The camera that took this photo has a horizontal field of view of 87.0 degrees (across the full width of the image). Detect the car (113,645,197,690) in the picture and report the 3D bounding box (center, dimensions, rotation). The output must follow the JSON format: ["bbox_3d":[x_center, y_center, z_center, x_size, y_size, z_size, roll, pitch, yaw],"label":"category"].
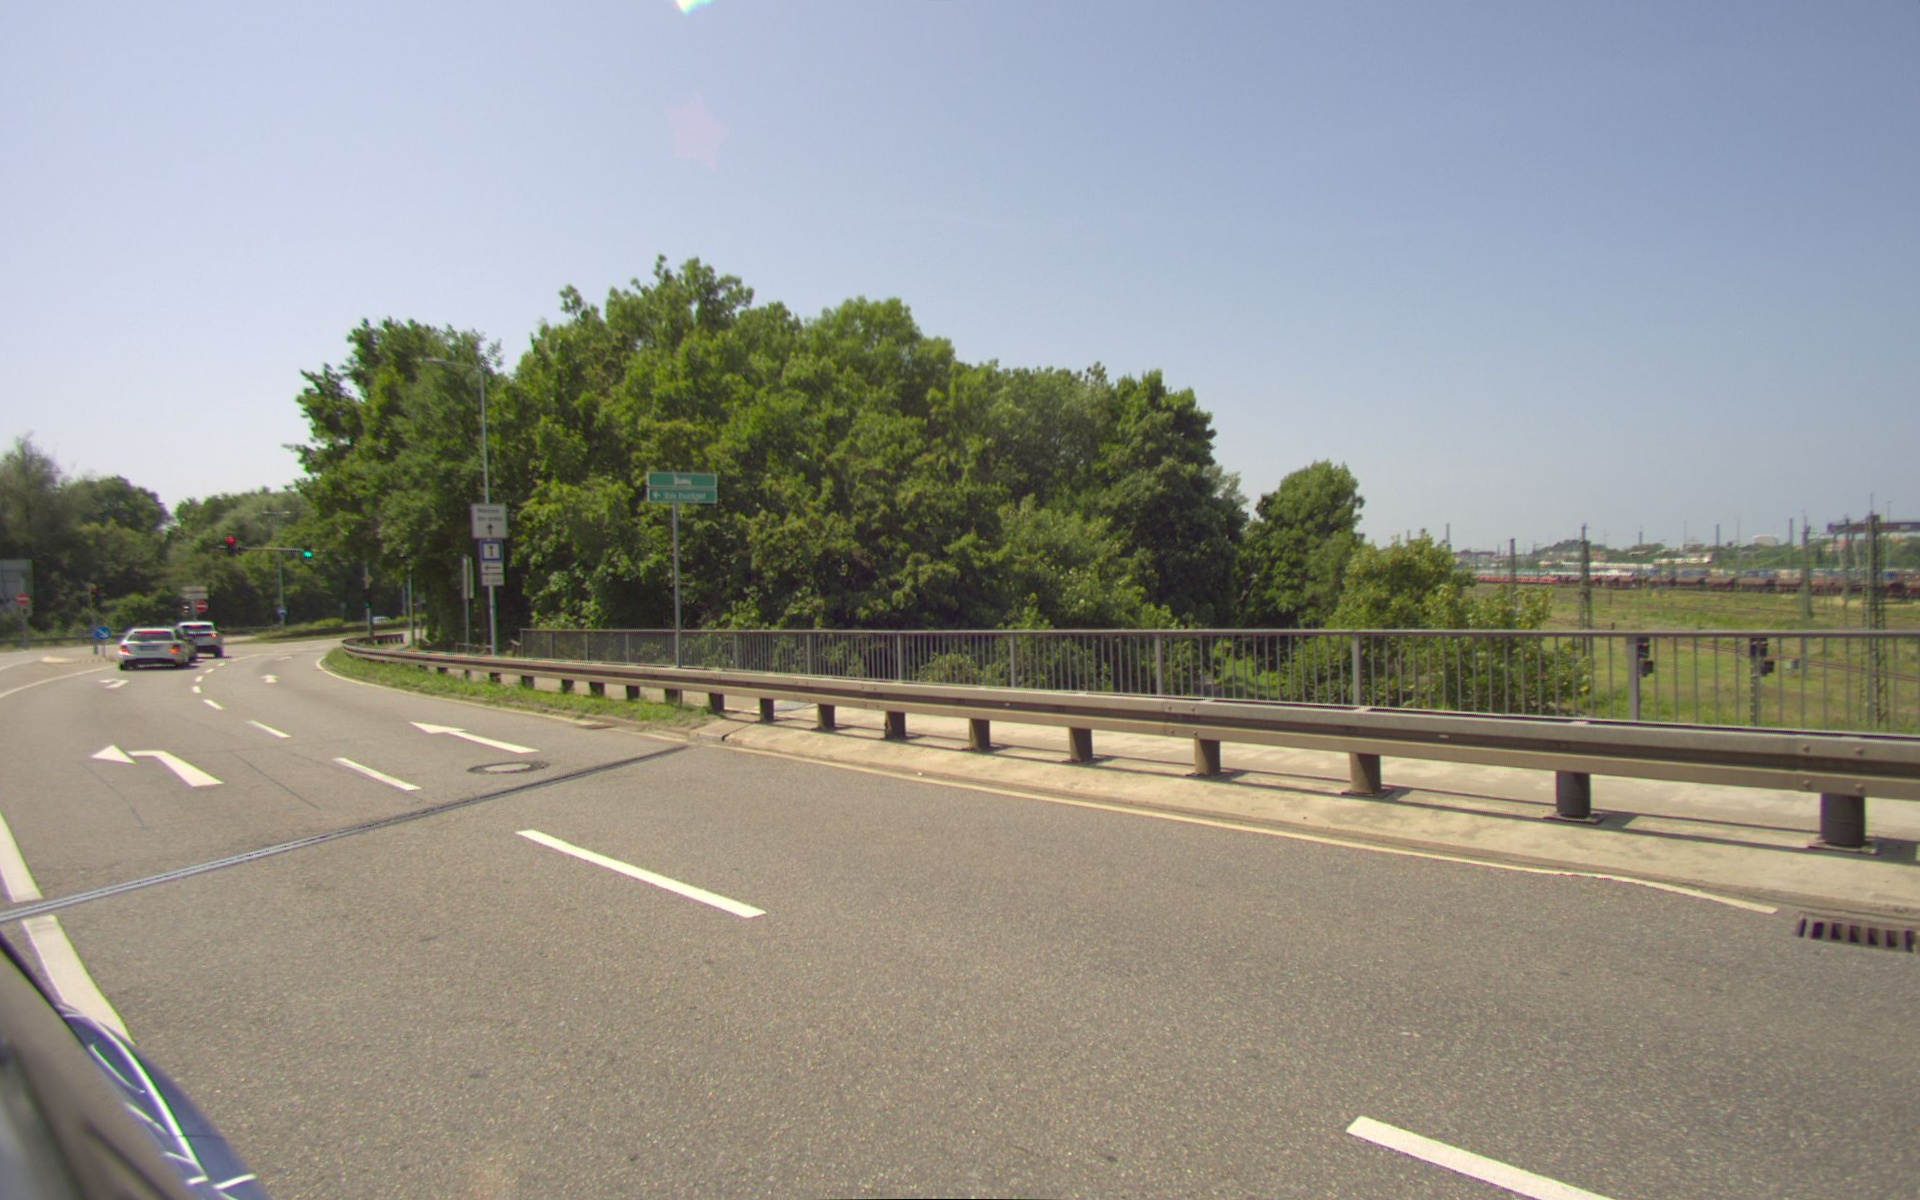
[{"bbox_3d":[-28.117,2.293,35.494,1.803,1.417,4.901,1,-2,-33],"label":"car"}]

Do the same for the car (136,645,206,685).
[{"bbox_3d":[-31.483,2.554,40.467,1.803,1.417,4.559,0,-2,-33],"label":"car"}]

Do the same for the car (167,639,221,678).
[{"bbox_3d":[-35.155,2.634,46.540,1.803,1.651,4.590,0,-2,-35],"label":"car"}]
